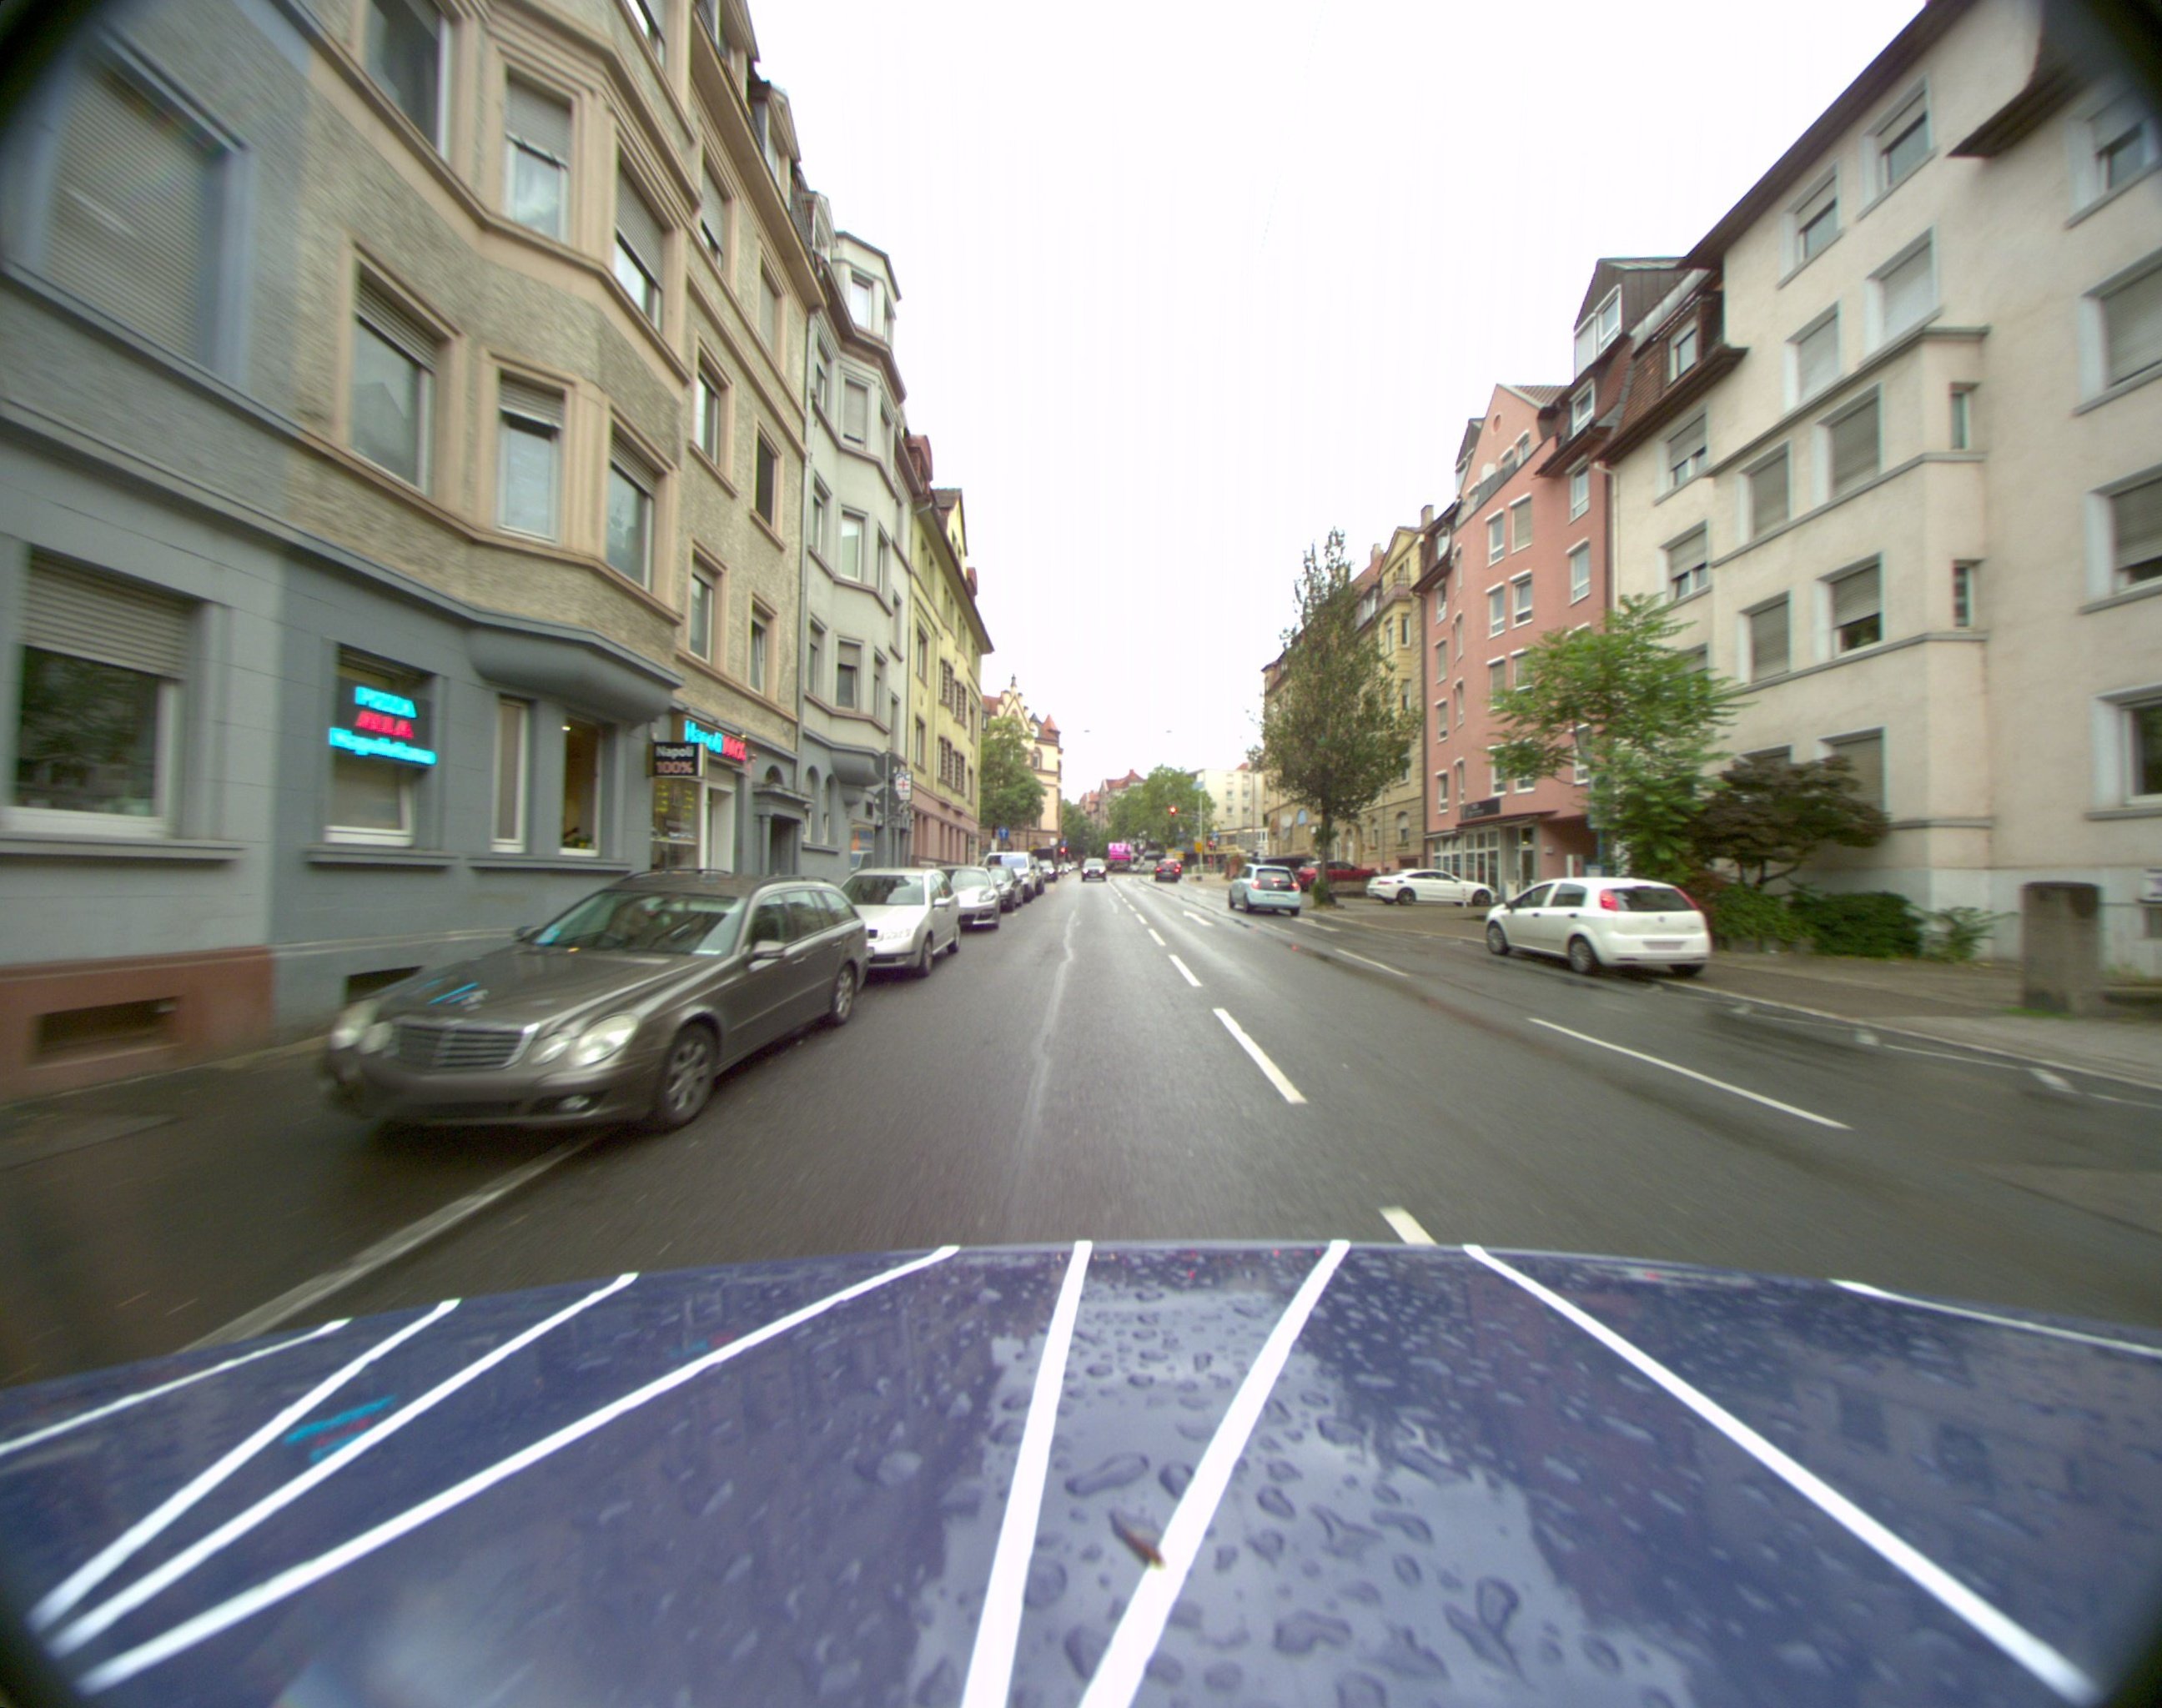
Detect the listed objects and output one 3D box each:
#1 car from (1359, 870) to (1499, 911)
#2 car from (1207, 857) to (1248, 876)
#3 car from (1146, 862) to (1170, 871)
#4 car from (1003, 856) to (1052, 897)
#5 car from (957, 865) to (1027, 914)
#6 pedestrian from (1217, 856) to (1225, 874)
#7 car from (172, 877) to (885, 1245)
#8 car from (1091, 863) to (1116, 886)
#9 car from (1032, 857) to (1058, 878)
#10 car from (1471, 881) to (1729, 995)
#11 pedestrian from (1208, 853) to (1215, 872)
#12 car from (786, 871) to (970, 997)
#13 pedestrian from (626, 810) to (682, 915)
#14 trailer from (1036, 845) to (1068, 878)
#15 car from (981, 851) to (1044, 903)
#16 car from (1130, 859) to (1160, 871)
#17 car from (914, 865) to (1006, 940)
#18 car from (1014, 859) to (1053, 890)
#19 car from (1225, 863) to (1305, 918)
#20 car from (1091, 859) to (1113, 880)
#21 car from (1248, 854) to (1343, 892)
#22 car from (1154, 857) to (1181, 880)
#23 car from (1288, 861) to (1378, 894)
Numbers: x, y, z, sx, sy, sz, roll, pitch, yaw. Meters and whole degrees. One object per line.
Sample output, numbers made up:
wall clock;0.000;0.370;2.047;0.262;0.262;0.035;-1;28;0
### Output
car;13.333;1.376;29.268;4.559;1.393;1.768;1;0;0
car;16.770;1.412;86.743;4.447;2.002;1.918;-1;0;14
car;12.967;2.135;128.604;3.711;1.407;1.807;-1;1;-33
car;-2.423;0.981;35.453;1.883;1.721;4.677;1;0;1
car;-2.741;1.072;24.243;1.681;1.367;4.276;-1;0;1
pedestrian;13.324;1.055;72.268;0.638;1.692;0.829;-2;0;3
car;-3.205;1.033;5.937;1.904;1.469;4.799;3;0;2
car;1.581;1.431;54.327;1.648;1.594;3.667;1;0;-1
car;-2.631;0.955;56.908;1.862;1.503;3.682;1;0;-2
car;8.305;1.252;12.660;1.625;1.437;4.005;1;0;2
pedestrian;12.190;0.829;71.047;0.523;1.763;0.694;-2;0;7
car;-2.811;1.032;11.417;1.615;1.466;4.016;-1;0;1
pedestrian;-6.757;0.132;12.035;0.415;1.610;0.627;2;1;31
trailer;-2.399;0.619;63.210;1.937;2.621;4.687;1;0;7
car;-2.604;0.843;29.907;1.924;1.816;5.009;1;0;1
car;11.214;1.836;133.394;4.983;1.966;1.876;-1;1;-28
car;-2.792;1.056;18.436;1.881;1.458;4.772;-1;0;-5
car;-2.524;1.063;41.313;1.803;1.555;4.492;-1;0;0
car;5.850;1.118;24.560;1.640;1.499;3.755;3;0;1
car;1.629;1.195;59.131;1.648;1.594;3.809;1;0;1
car;11.969;1.053;42.489;4.690;1.927;1.862;-2;0;-9
car;6.707;1.101;59.398;1.625;1.639;4.420;3;0;1
car;13.309;1.226;40.247;4.107;1.581;1.897;-2;1;0
